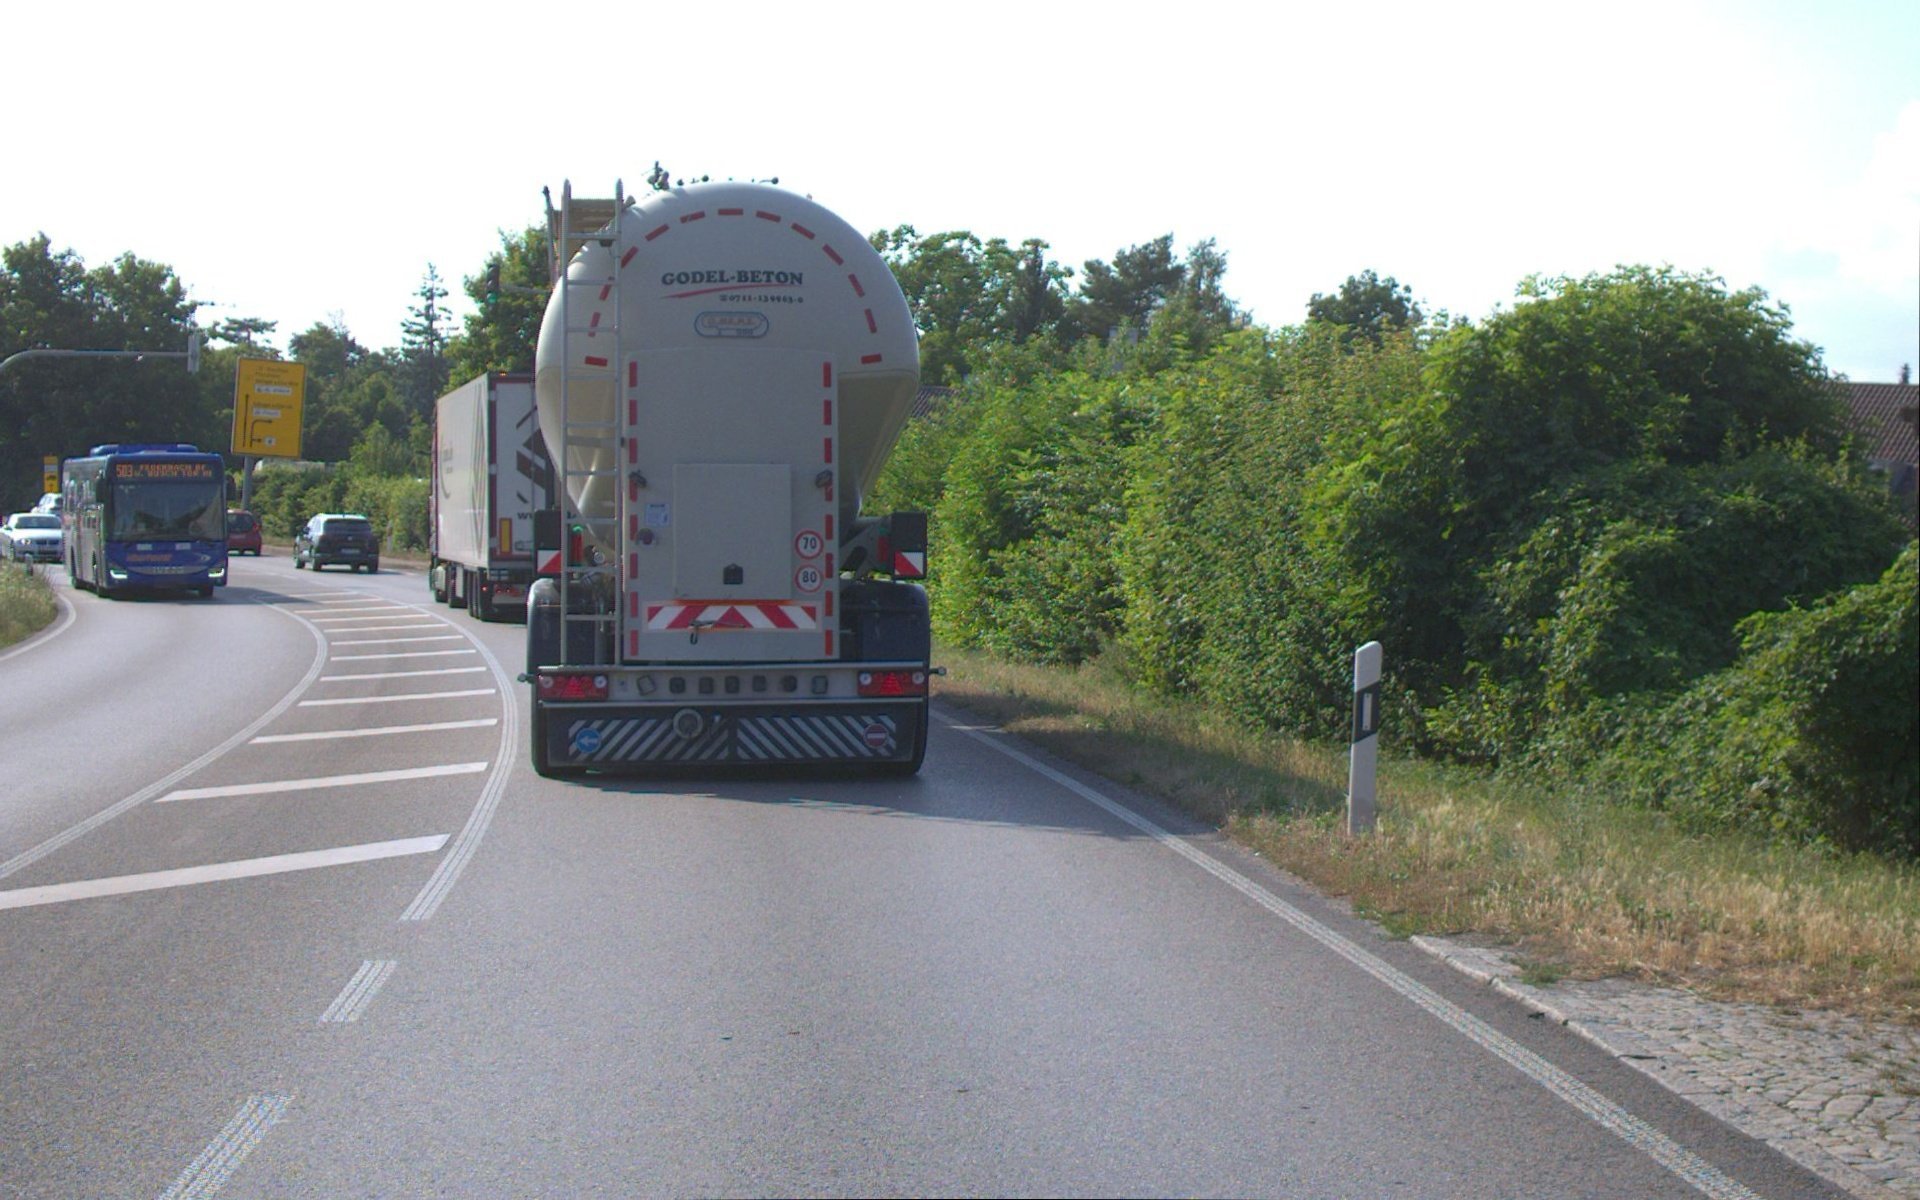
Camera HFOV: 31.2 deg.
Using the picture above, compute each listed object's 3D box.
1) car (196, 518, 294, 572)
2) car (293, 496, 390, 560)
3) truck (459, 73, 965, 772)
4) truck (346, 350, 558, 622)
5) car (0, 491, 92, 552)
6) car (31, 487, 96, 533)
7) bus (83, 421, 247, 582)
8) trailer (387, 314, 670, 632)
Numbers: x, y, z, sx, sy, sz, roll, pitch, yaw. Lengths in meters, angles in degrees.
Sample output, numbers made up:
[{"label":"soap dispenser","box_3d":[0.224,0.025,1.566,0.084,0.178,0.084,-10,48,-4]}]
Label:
[{"label":"car","box_3d":[-23.072,-1.766,110.862,2.299,1.650,4.416,1,0,-22]},{"label":"car","box_3d":[-16.951,-1.950,94.056,1.993,1.650,4.001,1,0,-19]},{"label":"truck","box_3d":[-2.053,-1.100,26.644,2.975,4.161,11.664,1,0,-6]},{"label":"truck","box_3d":[-9.799,-2.099,65.770,2.962,4.870,6.432,1,0,-17]},{"label":"car","box_3d":[-26.264,-2.235,98.427,1.841,1.650,4.001,1,0,-27]},{"label":"car","box_3d":[-34.175,-3.404,131.000,1.841,1.650,4.001,1,0,-22]},{"label":"bus","box_3d":[-17.542,-2.046,75.317,2.793,3.170,12.130,1,0,-16]},{"label":"trailer","box_3d":[-7.536,-2.014,58.519,2.963,4.865,10.291,1,0,-17]}]
